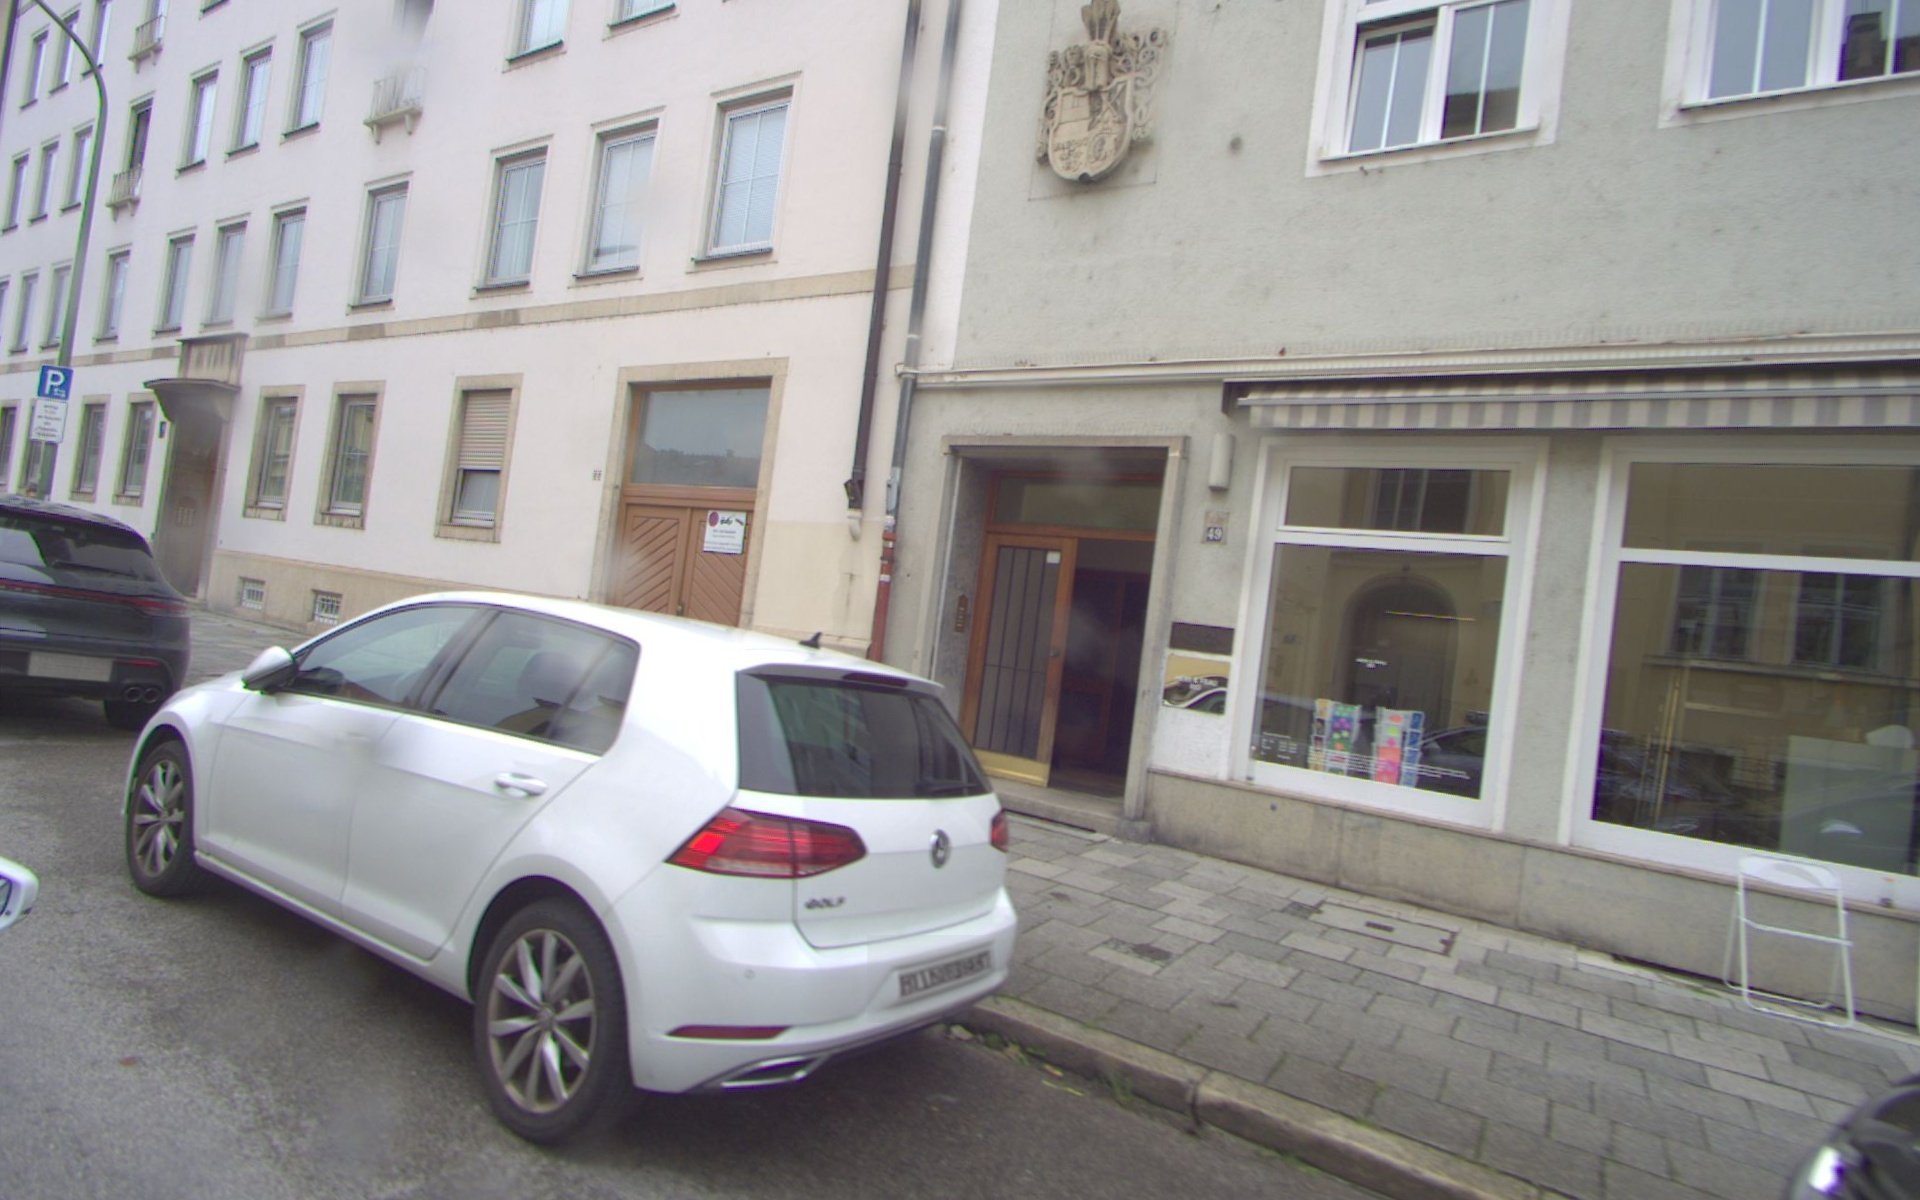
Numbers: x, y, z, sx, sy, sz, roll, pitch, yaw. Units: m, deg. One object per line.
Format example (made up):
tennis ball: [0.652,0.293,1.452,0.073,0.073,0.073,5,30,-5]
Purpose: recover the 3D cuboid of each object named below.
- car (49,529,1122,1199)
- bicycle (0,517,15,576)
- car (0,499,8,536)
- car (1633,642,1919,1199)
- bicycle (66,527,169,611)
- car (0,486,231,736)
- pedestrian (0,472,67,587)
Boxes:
car: [-1.800,0.690,4.164,4.456,1.444,1.677,6,-4,33]
bicycle: [-21.343,-1.248,21.897,2.069,1.231,0.530,6,-2,33]
car: [-11.946,-0.529,10.523,4.559,1.605,1.650,6,-5,33]
car: [3.330,1.179,0.908,4.287,1.609,1.712,7,-4,29]
bicycle: [-14.890,-0.558,17.760,1.953,1.236,0.514,7,-1,26]
car: [-7.819,-0.096,7.812,4.633,1.538,1.844,6,-4,34]
pedestrian: [-15.678,-1.166,16.820,0.890,1.782,0.724,4,-4,33]
